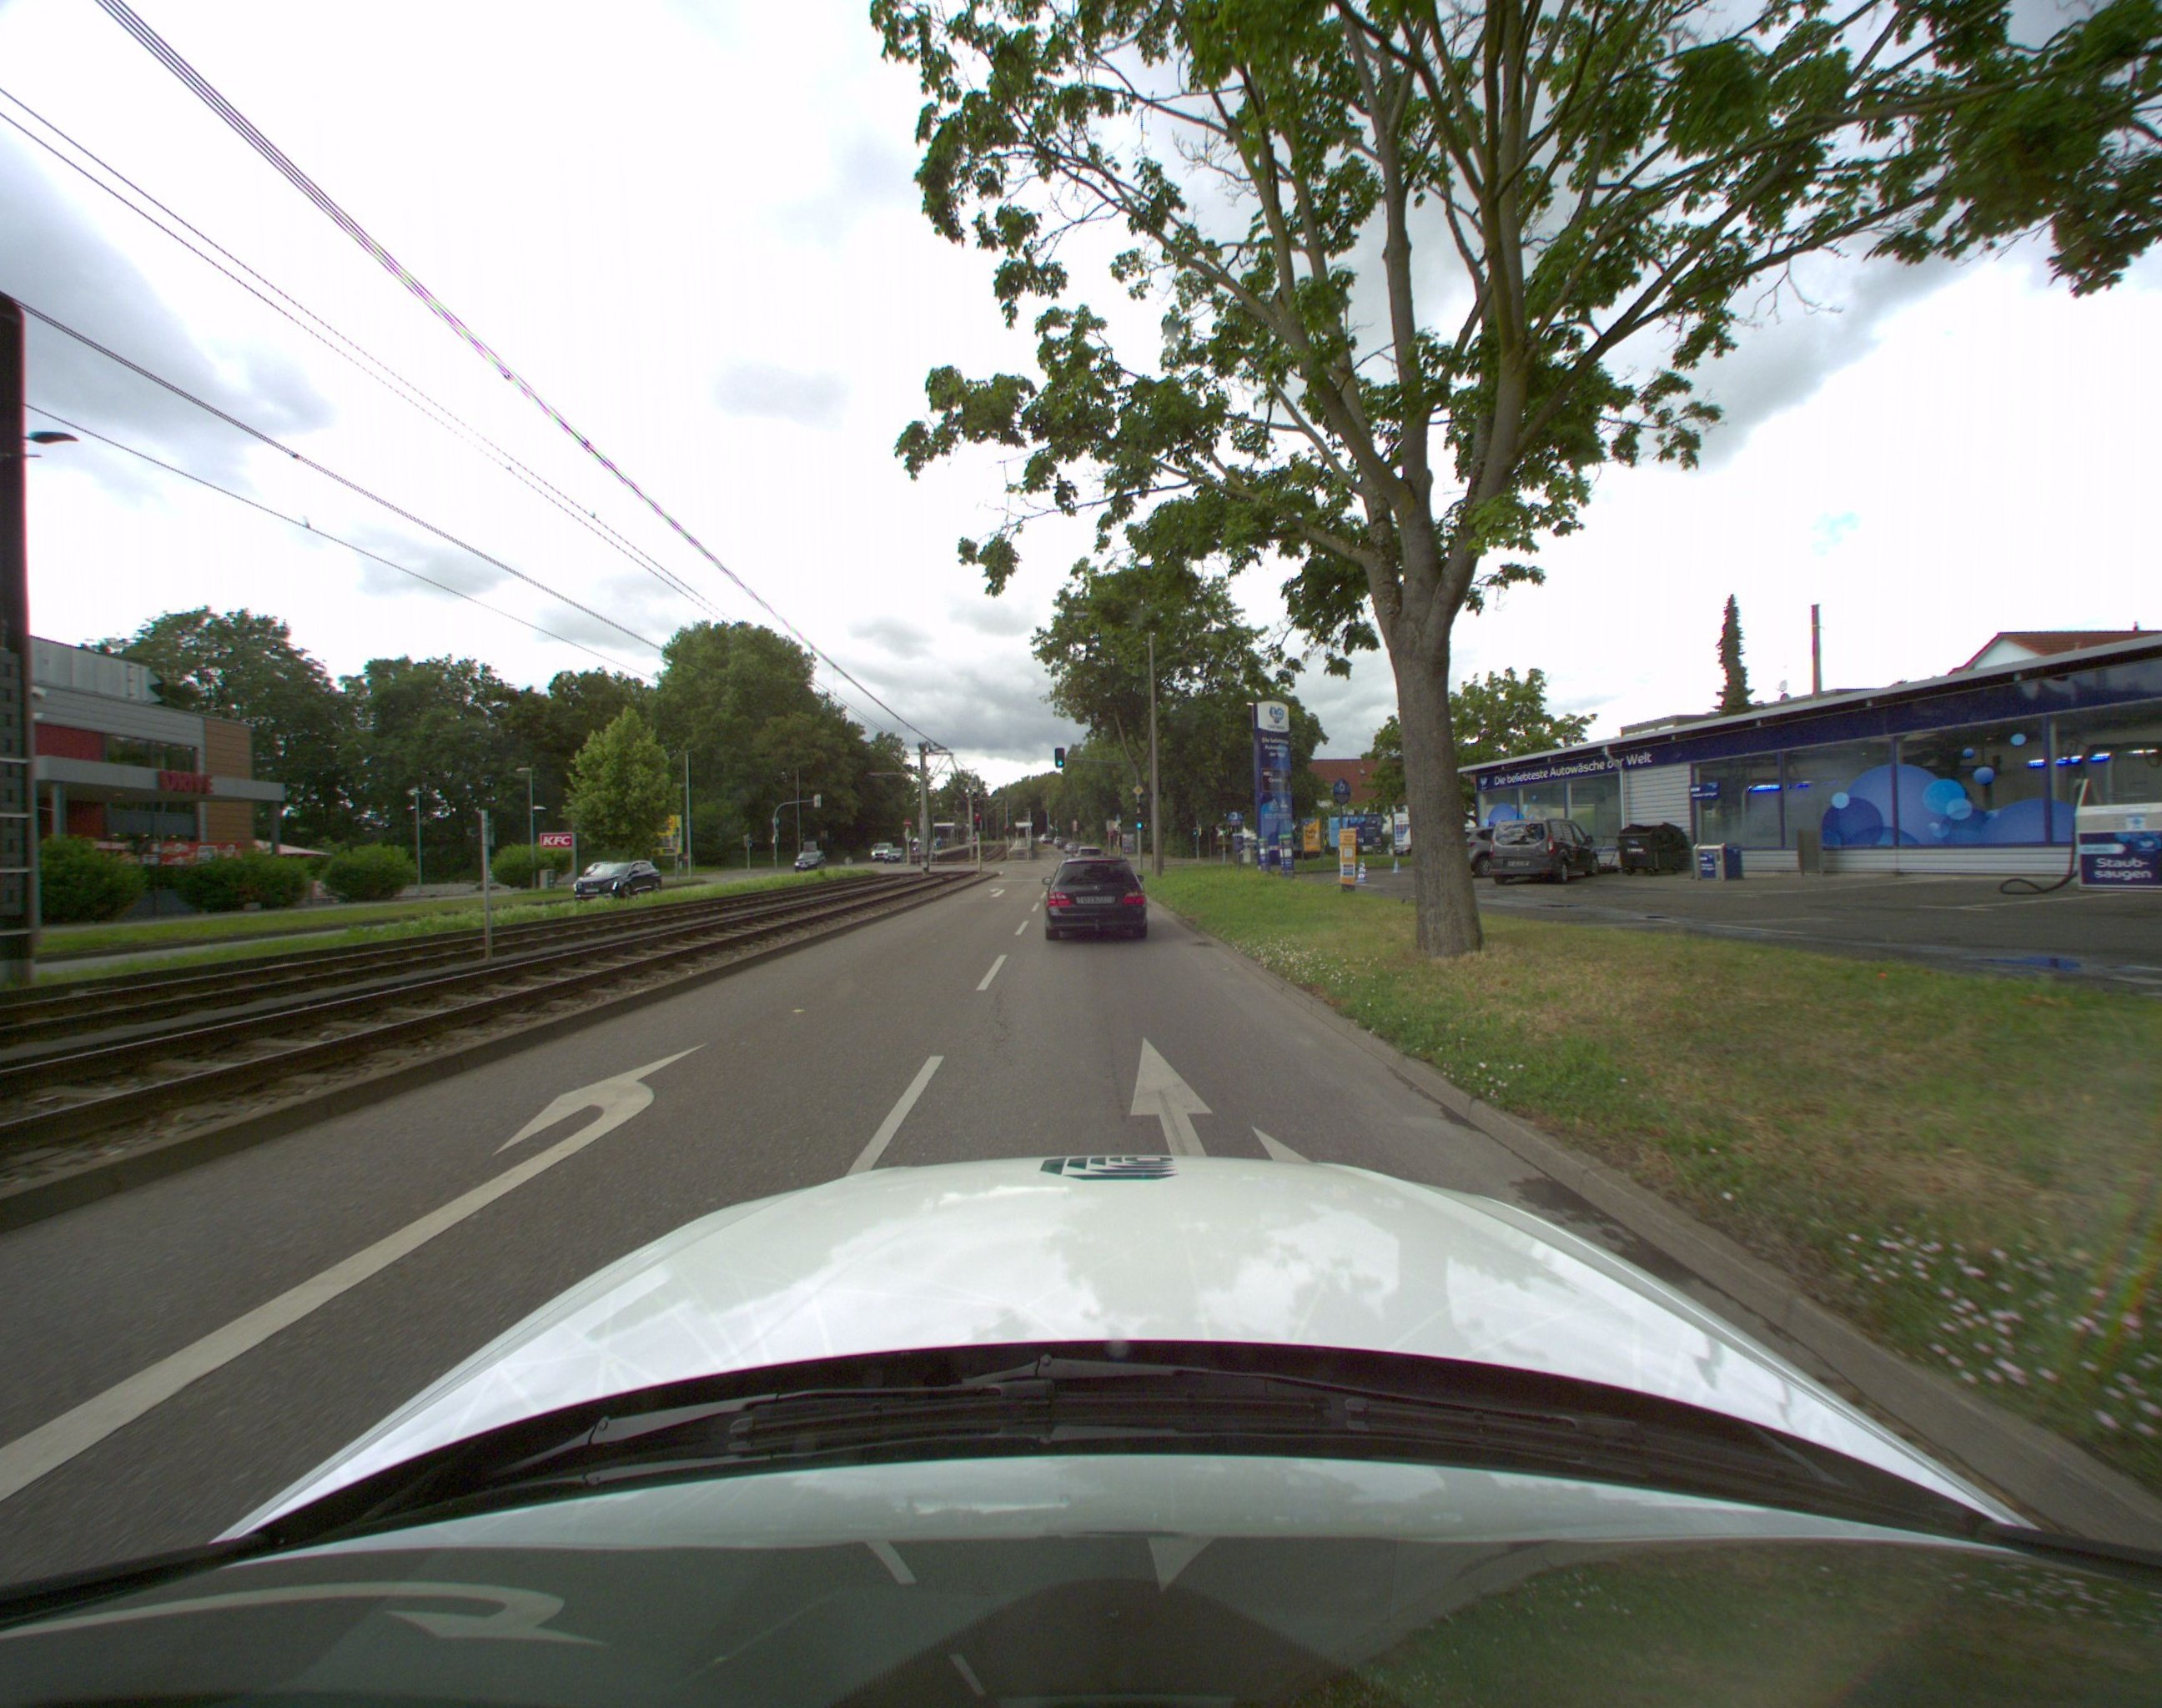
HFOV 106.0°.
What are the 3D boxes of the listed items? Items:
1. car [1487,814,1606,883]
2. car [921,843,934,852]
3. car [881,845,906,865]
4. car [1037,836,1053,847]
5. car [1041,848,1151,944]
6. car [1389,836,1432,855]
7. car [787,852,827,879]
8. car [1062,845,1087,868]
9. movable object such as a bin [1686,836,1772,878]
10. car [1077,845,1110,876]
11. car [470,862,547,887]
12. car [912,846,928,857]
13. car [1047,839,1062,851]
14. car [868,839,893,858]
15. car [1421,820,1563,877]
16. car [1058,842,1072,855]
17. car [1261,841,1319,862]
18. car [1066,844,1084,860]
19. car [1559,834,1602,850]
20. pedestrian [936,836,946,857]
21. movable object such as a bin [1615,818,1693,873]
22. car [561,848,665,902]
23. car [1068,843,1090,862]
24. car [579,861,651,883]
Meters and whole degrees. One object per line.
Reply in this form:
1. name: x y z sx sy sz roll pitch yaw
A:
1. car: 13.474 -0.185 23.458 4.409 1.821 1.730 -2 0 -44
2. car: -25.910 -1.129 137.705 1.683 1.445 3.994 -4 0 -4
3. car: -18.389 0.071 80.015 1.694 1.860 3.994 1 0 -4
4. car: -6.900 -2.474 156.933 2.000 2.013 3.973 1 0 -20
5. car: 0.167 0.678 15.301 1.777 1.525 3.996 -2 0 -3
6. car: 31.287 -0.768 77.265 4.018 1.765 1.978 1 0 -38
7. car: -21.725 0.867 64.663 1.990 2.013 4.100 -2 0 -5
8. car: -0.459 0.194 61.878 1.775 1.648 4.002 1 0 2
9. movable object such as a bin: 15.996 0.079 20.151 1.156 0.976 1.186 -2 0 -5
10. car: 0.746 0.364 46.668 1.775 1.648 4.002 1 0 2
11. car: -40.091 1.454 57.129 3.978 1.552 1.845 -2 0 -4
12. car: -24.755 -0.440 125.467 1.990 1.481 4.500 1 2 -5
13. car: -4.659 -1.511 142.515 1.993 2.013 3.987 1 0 -10
14. car: -22.772 -0.573 92.666 1.992 2.013 4.874 -2 0 -7
15. car: 13.802 -0.197 27.393 4.212 1.697 1.829 -2 1 -19
16. car: -2.501 -0.772 125.353 1.990 1.966 3.994 1 0 -4
17. car: 16.528 -0.210 64.525 4.133 1.526 1.706 -2 0 4
18. car: -0.791 -0.265 104.231 1.990 1.893 3.994 1 0 -4
19. car: 48.018 -1.174 78.307 4.015 1.517 1.980 -1 1 -33
20. pedestrian: -15.100 -0.804 87.810 0.967 2.186 0.975 -1 0 -3
21. movable object such as a bin: 16.209 -0.242 23.096 1.156 1.474 1.385 -2 0 -5
22. car: -18.891 0.794 33.094 1.990 2.013 4.240 -2 0 -5
23. car: -0.223 -0.127 82.882 1.990 1.918 3.994 1 0 -4
24. car: -32.780 1.243 57.361 3.870 1.408 1.845 -2 0 -4
